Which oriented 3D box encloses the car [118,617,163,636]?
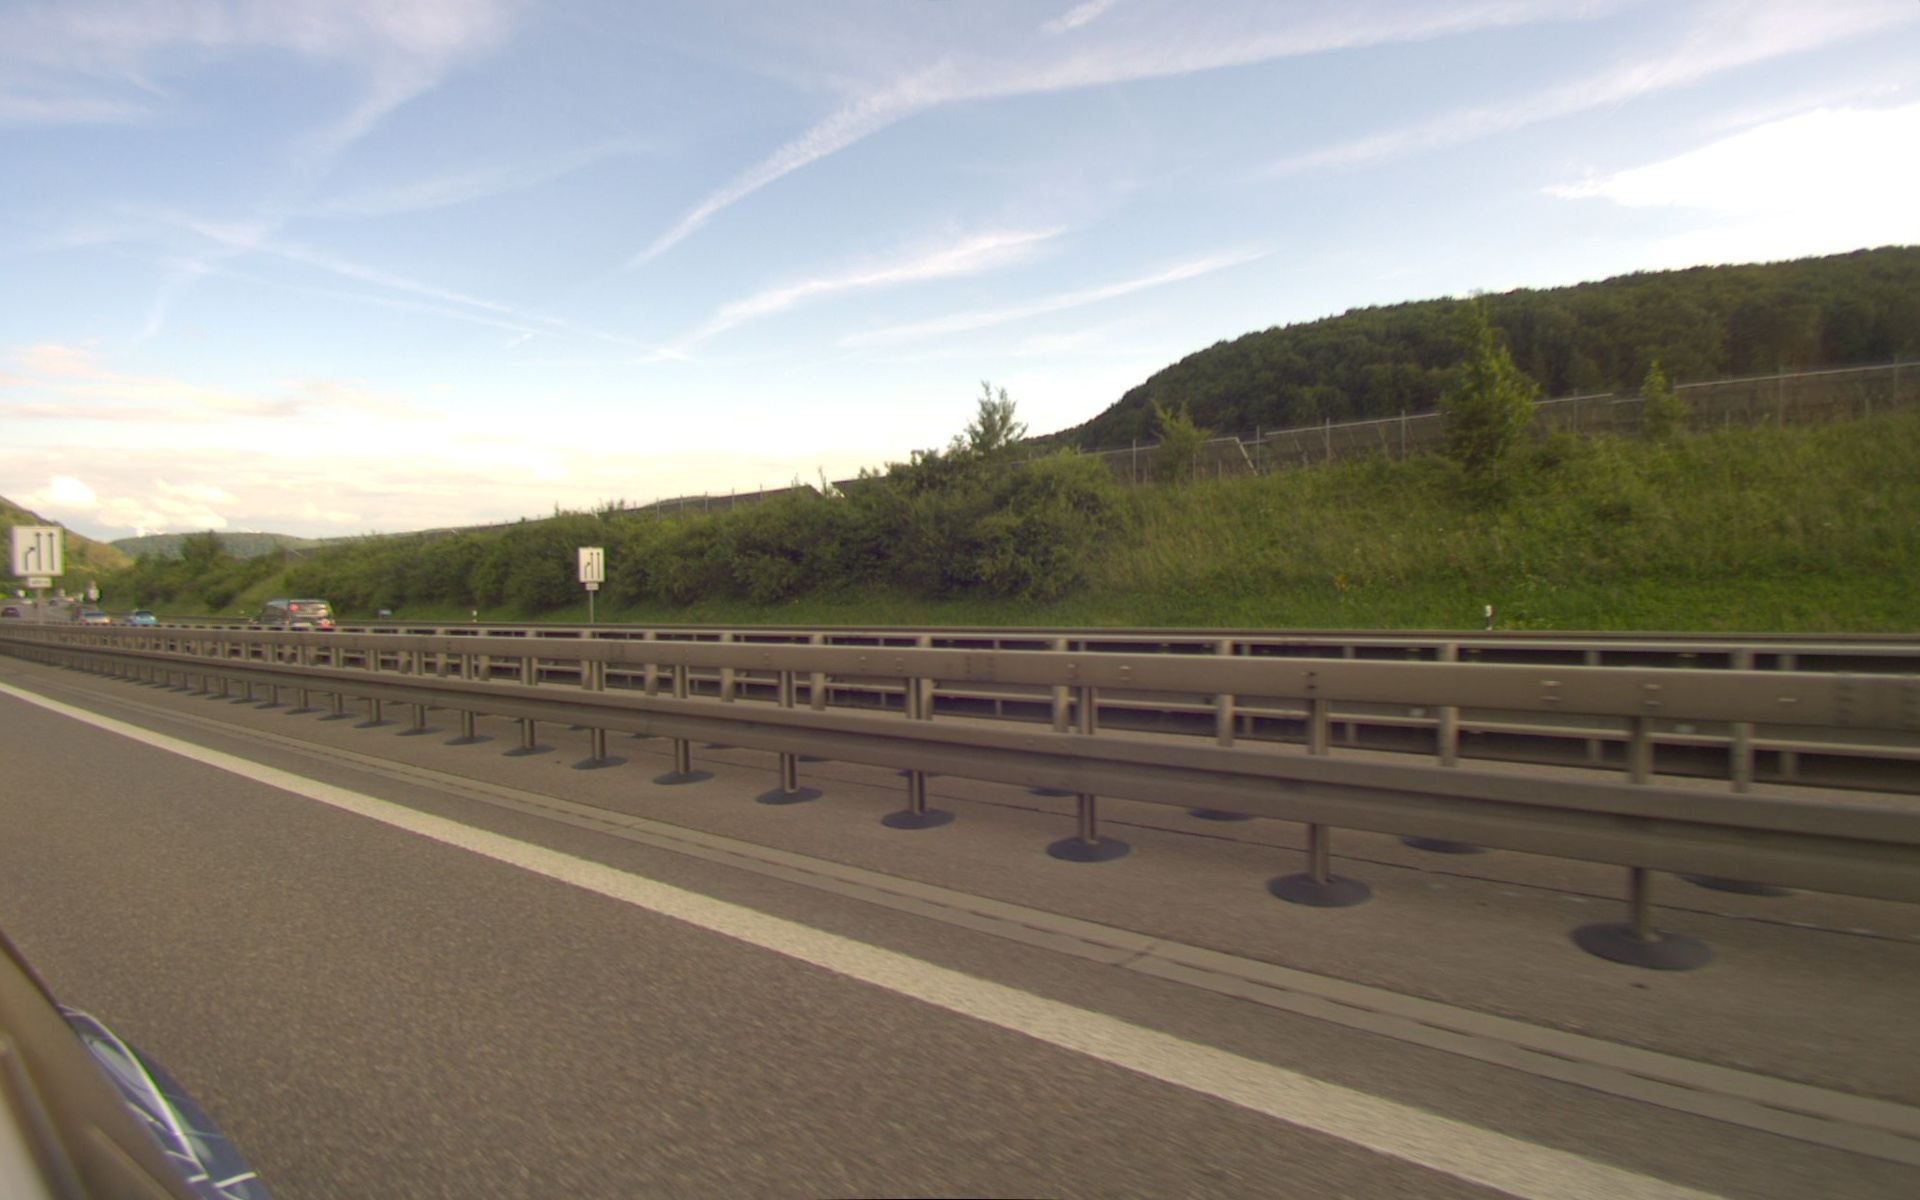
[{"bbox_3d":[-63.603,2.063,78.533,4.352,1.364,1.973,-1,-1,40],"label":"car"}]

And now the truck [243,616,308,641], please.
[{"bbox_3d":[-37.669,1.564,55.694,3.944,1.364,1.973,-1,-2,41],"label":"truck"}]

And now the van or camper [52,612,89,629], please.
[{"bbox_3d":[-89.537,2.081,101.819,5.450,1.673,1.973,-1,-2,40],"label":"van or camper"}]

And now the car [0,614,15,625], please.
[{"bbox_3d":[-127.809,2.616,135.084,4.584,1.441,1.973,0,0,40],"label":"car"}]

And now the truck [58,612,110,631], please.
[{"bbox_3d":[-58.108,1.445,67.125,3.996,1.231,1.974,-1,-2,39],"label":"truck"}]

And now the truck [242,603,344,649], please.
[{"bbox_3d":[-25.182,0.982,38.127,4.844,1.606,1.973,-1,-2,41],"label":"truck"}]
